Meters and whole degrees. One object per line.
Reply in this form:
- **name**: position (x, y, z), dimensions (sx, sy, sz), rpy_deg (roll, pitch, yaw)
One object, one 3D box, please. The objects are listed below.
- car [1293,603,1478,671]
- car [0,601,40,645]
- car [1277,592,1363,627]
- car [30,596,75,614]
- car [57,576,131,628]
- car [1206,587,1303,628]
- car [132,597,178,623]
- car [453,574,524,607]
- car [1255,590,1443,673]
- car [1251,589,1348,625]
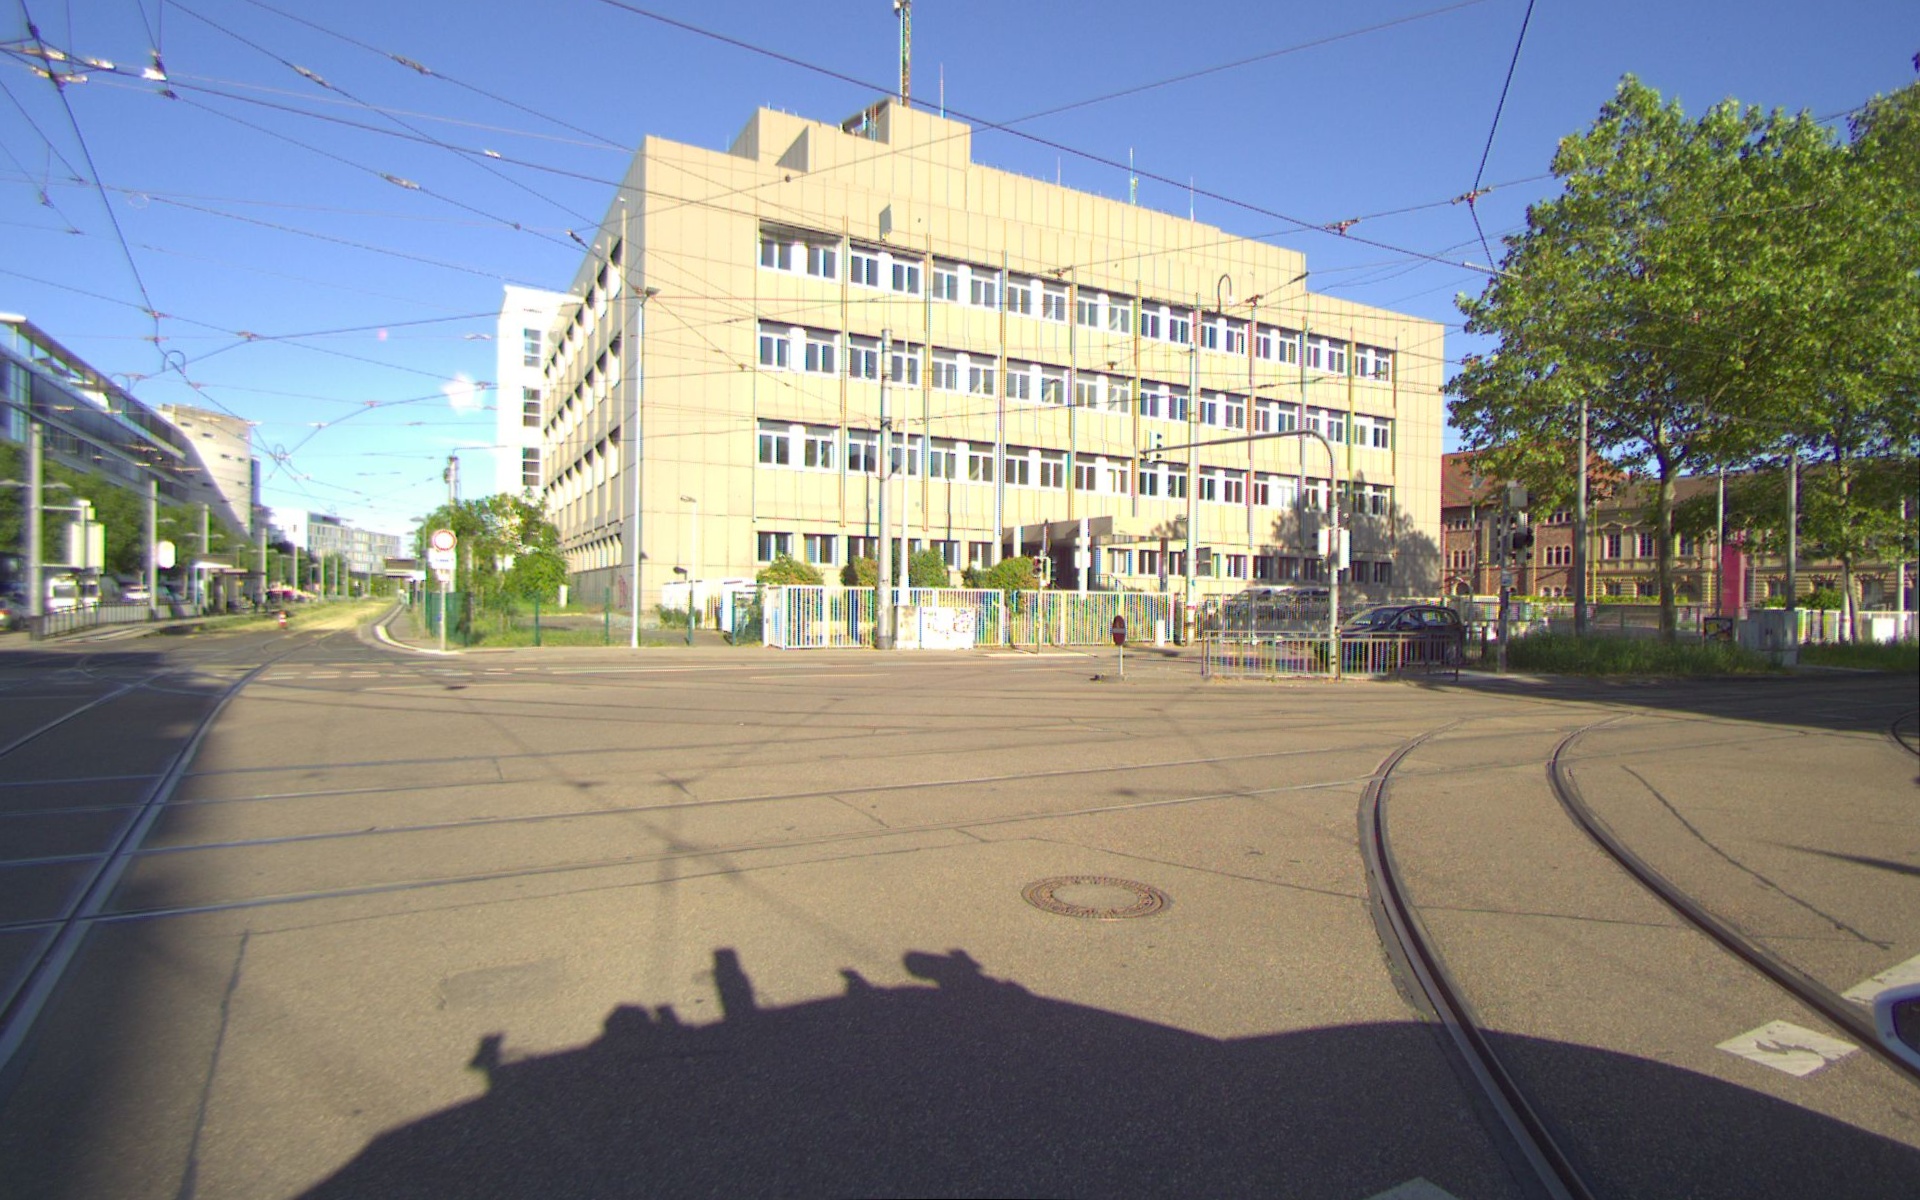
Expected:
- **car**: position (11.157, 0.926, 26.299), dimensions (4.695, 1.638, 1.986), rpy_deg (1, -1, -28)
- **car**: position (-38.257, 0.894, 39.845), dimensions (2.088, 1.720, 3.931), rpy_deg (1, -1, -35)
- **car**: position (21.803, 0.608, 61.030), dimensions (1.980, 2.040, 4.709), rpy_deg (1, -1, -35)
- **car**: position (-72.490, 0.394, 80.292), dimensions (1.978, 1.364, 3.966), rpy_deg (1, -1, -31)
- **car**: position (-44.727, 0.132, 51.977), dimensions (2.158, 2.539, 4.363), rpy_deg (1, -1, -31)
- **car**: position (15.158, 0.421, 51.660), dimensions (4.660, 2.040, 1.988), rpy_deg (0, -1, -25)
- **car**: position (-51.005, 0.653, 63.727), dimensions (1.734, 1.579, 3.917), rpy_deg (1, -1, -31)
- **car**: position (-29.884, -0.561, 63.618), dimensions (3.952, 2.040, 1.984), rpy_deg (0, 0, -30)
- **car**: position (9.937, 0.759, 25.700), dimensions (4.360, 1.974, 1.989), rpy_deg (0, 0, -23)
- **car**: position (16.549, 0.355, 48.977), dimensions (4.318, 1.726, 1.988), rpy_deg (0, -1, -25)
